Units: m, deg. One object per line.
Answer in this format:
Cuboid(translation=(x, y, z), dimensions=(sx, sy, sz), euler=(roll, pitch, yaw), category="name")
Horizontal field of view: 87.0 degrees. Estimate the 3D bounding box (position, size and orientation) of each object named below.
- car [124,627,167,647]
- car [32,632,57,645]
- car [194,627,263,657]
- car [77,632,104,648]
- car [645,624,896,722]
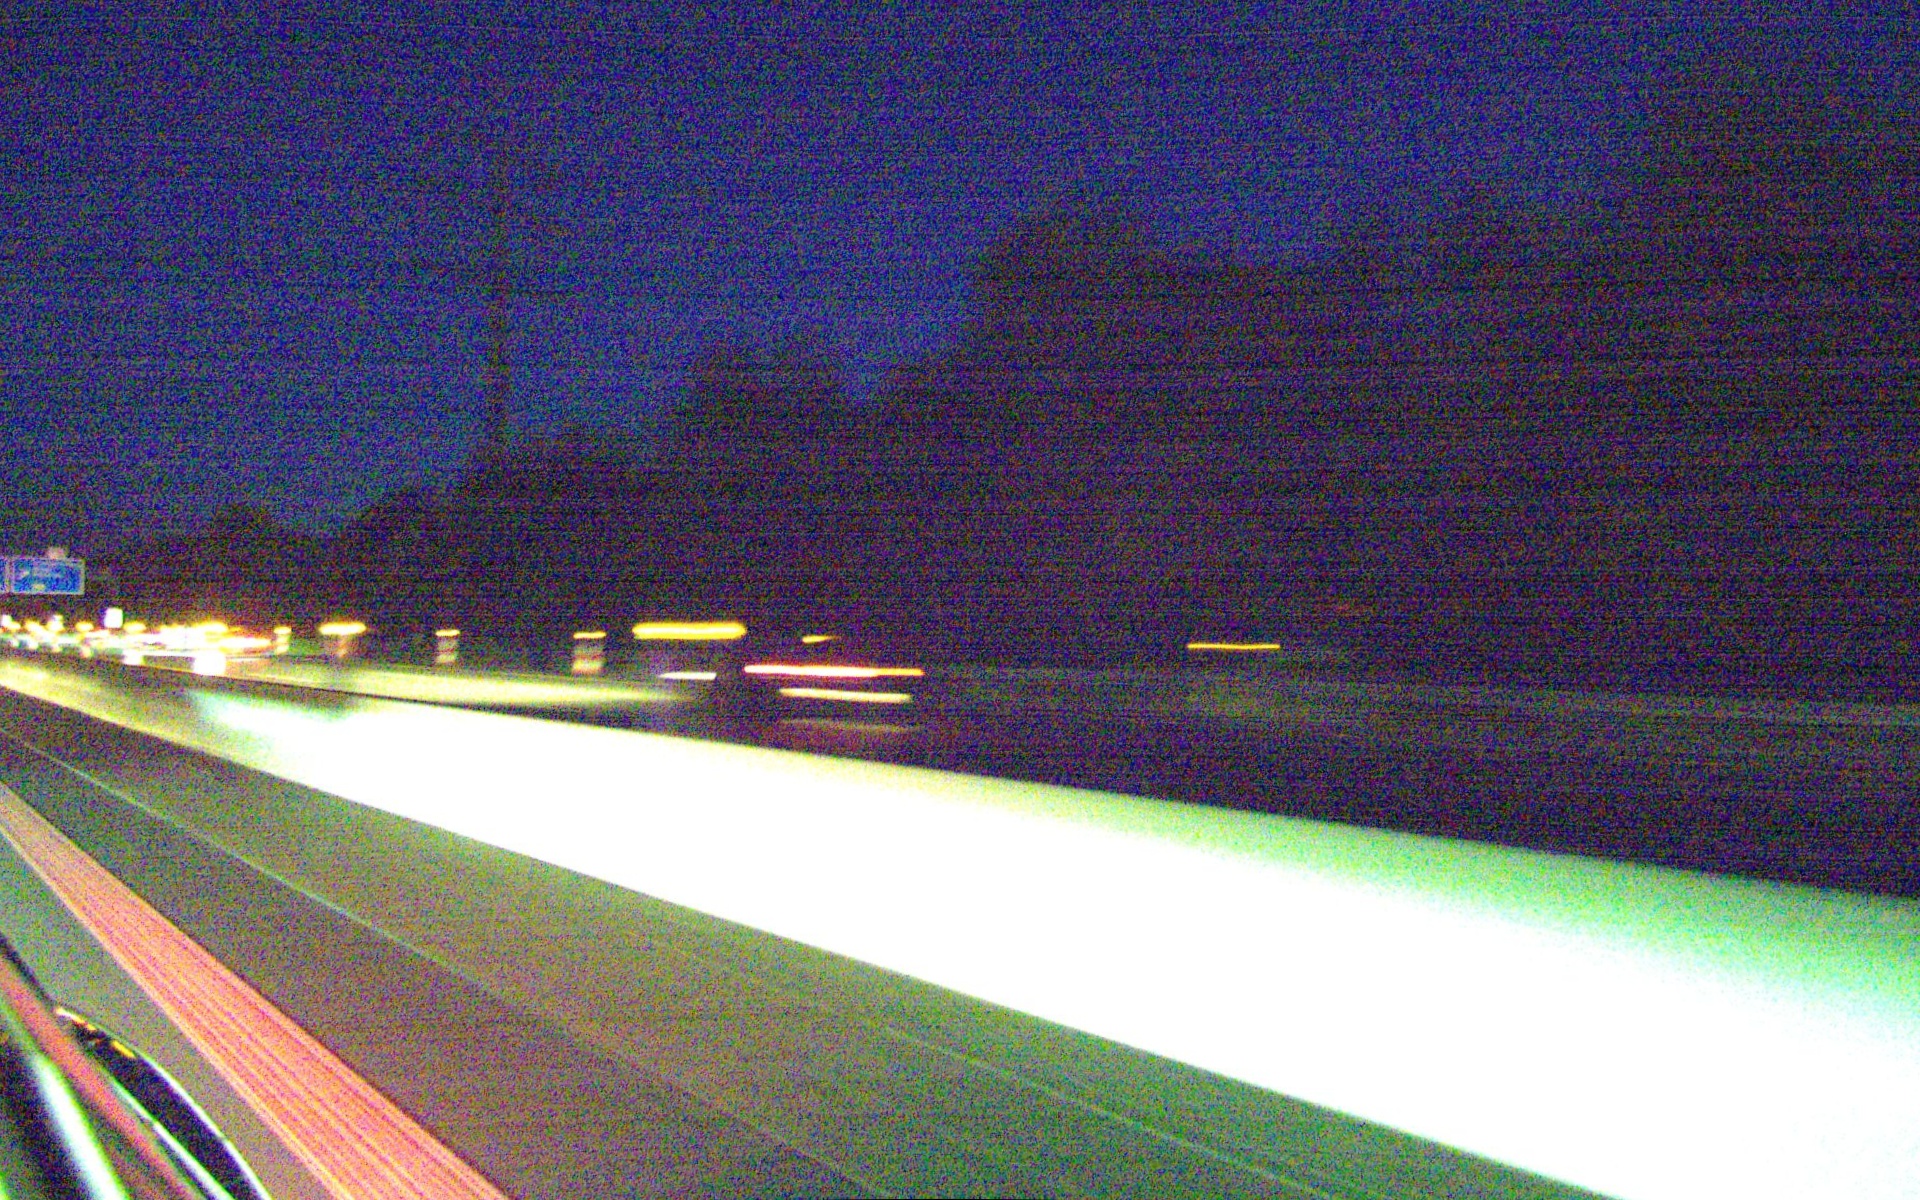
Cuboid(translation=(-56.981, 2.549, 70.758), dimensions=(4.809, 1.344, 1.643), euler=(-1, -3, 43), category="car")
Cuboid(translation=(-107.962, 4.563, 119.334), dimensions=(4.481, 1.490, 1.731), euler=(-1, -3, 43), category="car")
Cuboid(translation=(-36.414, 2.064, 50.357), dimensions=(4.874, 1.405, 1.615), euler=(-1, -3, 40), category="car")
Cuboid(translation=(-83.744, 3.814, 97.430), dimensions=(1.729, 1.490, 4.730), euler=(3, -3, -43), category="car")
Cuboid(translation=(-3.374, 1.175, 17.486), dimensions=(4.578, 1.490, 1.732), euler=(-1, -3, 40), category="car")
